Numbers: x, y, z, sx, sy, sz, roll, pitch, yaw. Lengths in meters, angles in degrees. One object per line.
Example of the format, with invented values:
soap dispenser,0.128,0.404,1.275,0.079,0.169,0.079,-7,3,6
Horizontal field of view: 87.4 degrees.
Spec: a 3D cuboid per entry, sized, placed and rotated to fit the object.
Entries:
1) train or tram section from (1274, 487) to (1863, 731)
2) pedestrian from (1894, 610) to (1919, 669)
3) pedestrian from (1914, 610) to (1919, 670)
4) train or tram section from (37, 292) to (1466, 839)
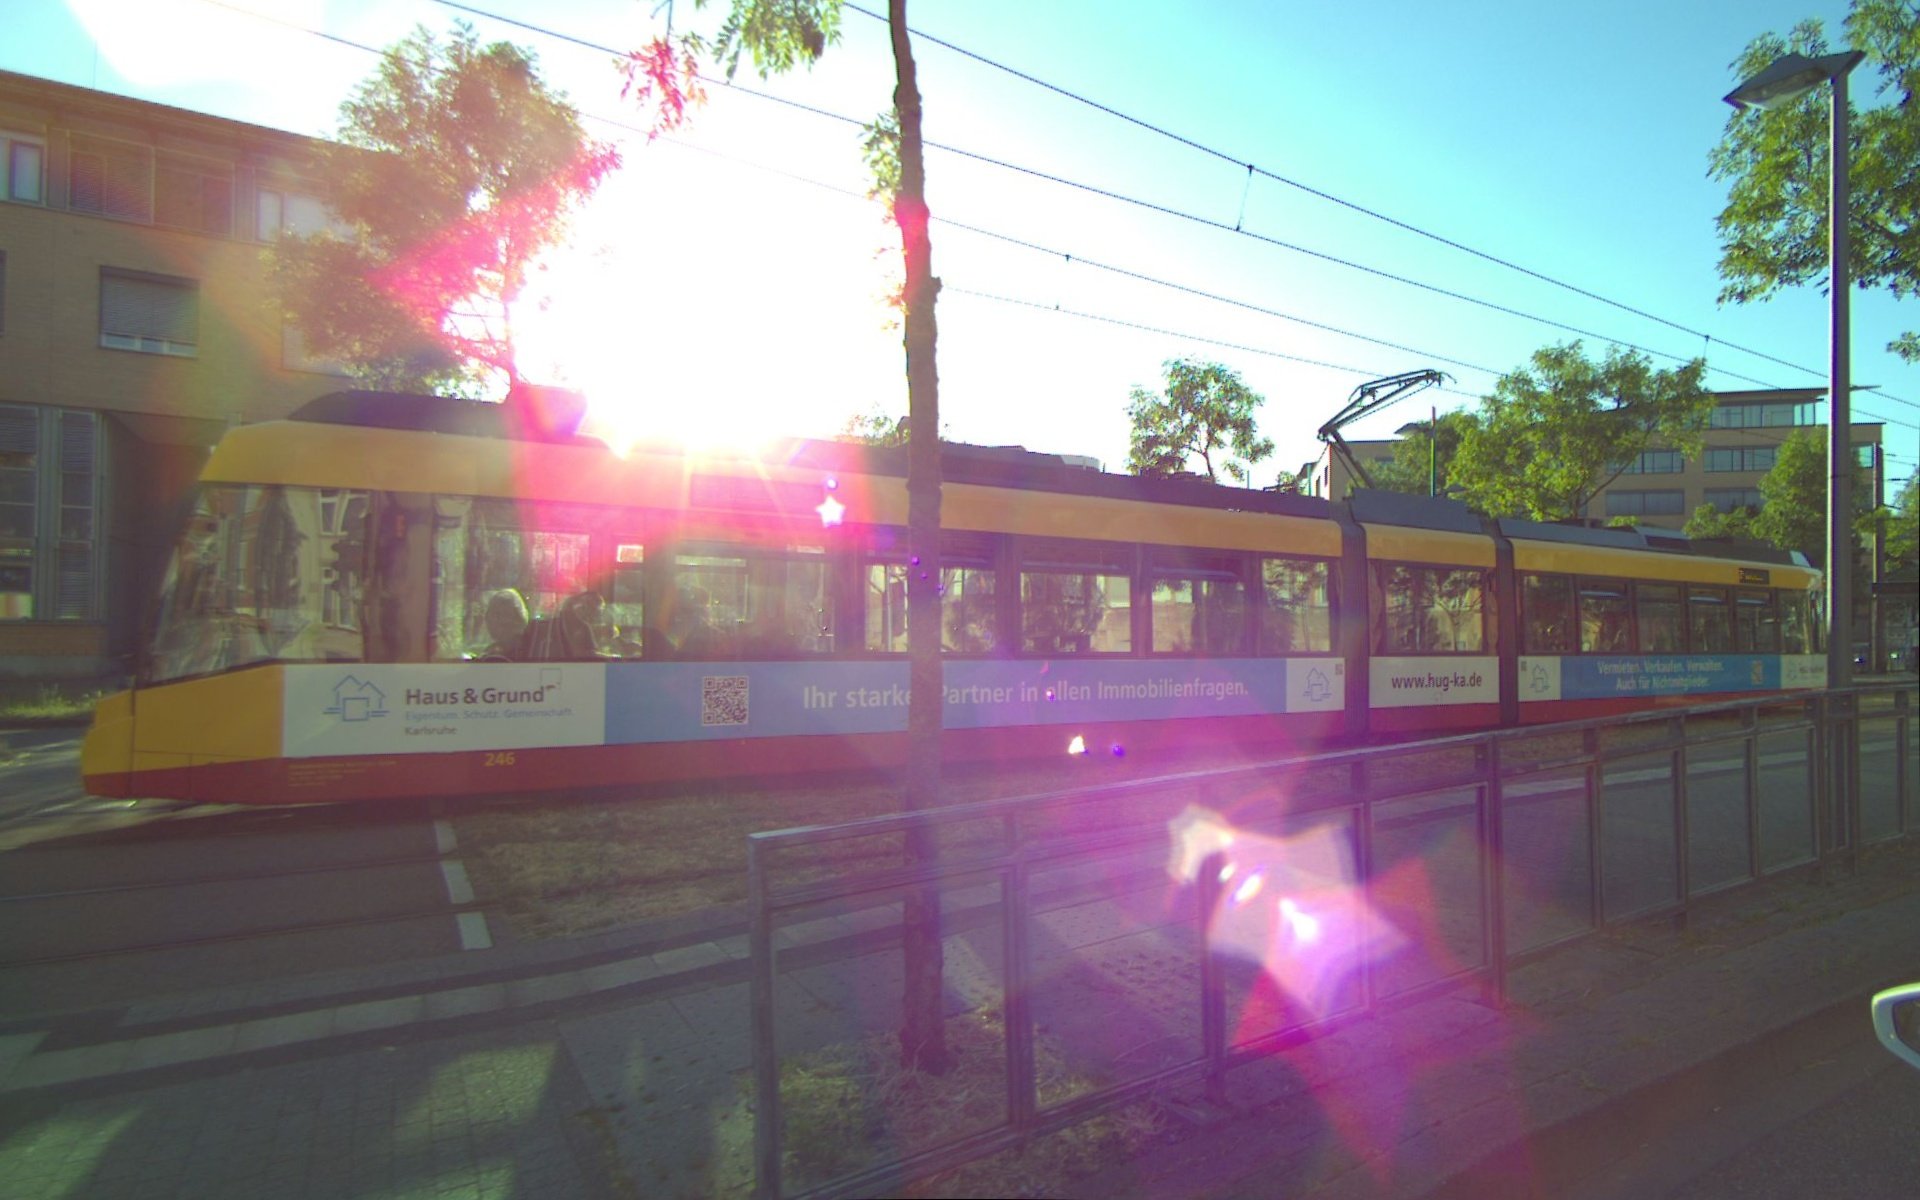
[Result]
train or tram section,12.048,0.344,18.908,13.696,3.383,3.414,2,-1,-30
pedestrian,33.591,1.379,35.336,1.113,2.040,0.767,1,-1,-28
pedestrian,33.219,1.384,34.197,1.113,2.040,0.767,1,-1,-28
train or tram section,-0.241,0.013,11.634,14.852,3.475,3.414,2,-1,-30
